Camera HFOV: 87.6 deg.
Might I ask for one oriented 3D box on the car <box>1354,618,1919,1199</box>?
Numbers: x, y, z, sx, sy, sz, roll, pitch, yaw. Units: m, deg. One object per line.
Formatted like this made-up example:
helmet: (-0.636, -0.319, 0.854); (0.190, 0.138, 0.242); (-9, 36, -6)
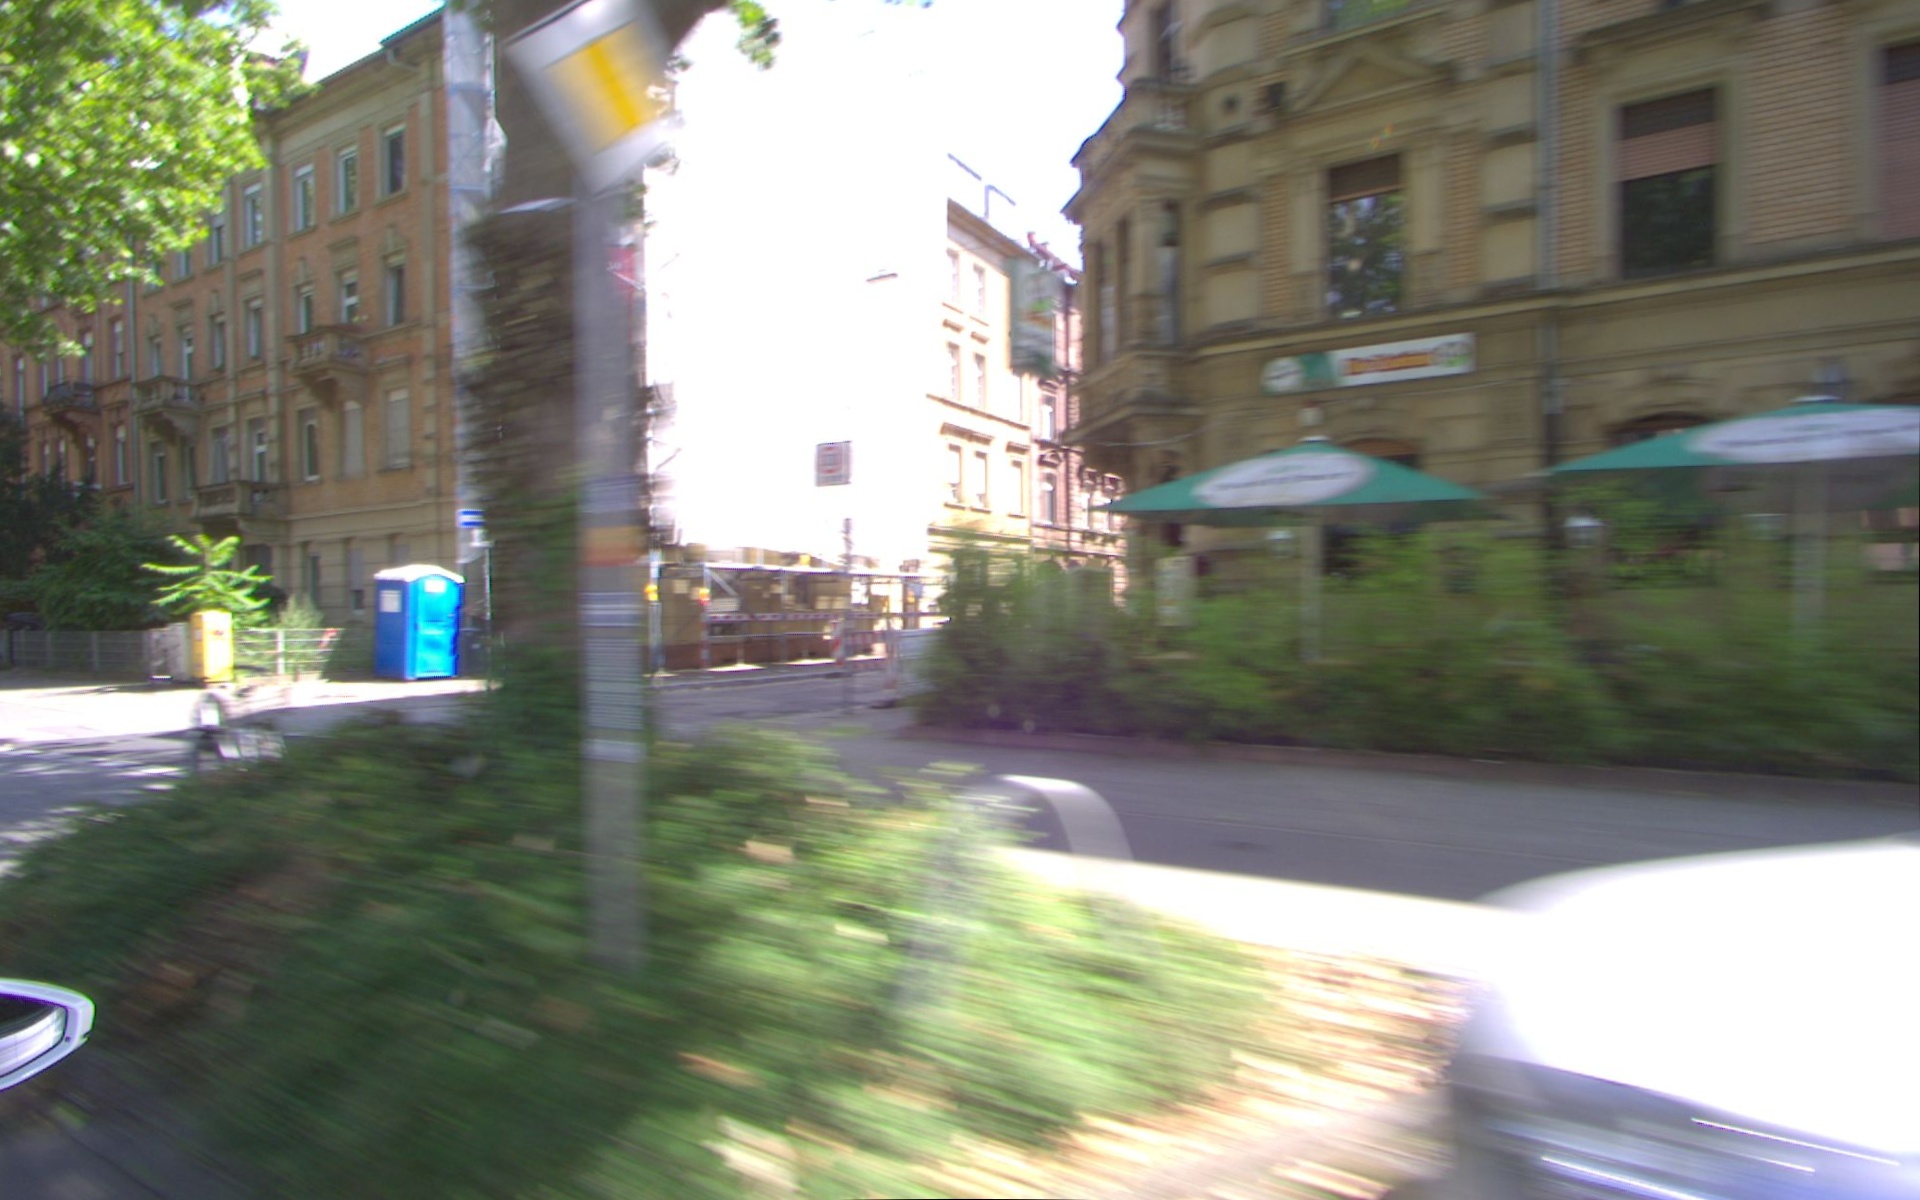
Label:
car: (2.898, 0.796, 1.111); (4.422, 1.528, 1.832); (-1, 0, 28)

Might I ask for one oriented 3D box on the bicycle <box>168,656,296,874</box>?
bicycle: (-4.512, 0.946, 6.279); (0.416, 1.120, 1.609); (-1, 0, -28)
